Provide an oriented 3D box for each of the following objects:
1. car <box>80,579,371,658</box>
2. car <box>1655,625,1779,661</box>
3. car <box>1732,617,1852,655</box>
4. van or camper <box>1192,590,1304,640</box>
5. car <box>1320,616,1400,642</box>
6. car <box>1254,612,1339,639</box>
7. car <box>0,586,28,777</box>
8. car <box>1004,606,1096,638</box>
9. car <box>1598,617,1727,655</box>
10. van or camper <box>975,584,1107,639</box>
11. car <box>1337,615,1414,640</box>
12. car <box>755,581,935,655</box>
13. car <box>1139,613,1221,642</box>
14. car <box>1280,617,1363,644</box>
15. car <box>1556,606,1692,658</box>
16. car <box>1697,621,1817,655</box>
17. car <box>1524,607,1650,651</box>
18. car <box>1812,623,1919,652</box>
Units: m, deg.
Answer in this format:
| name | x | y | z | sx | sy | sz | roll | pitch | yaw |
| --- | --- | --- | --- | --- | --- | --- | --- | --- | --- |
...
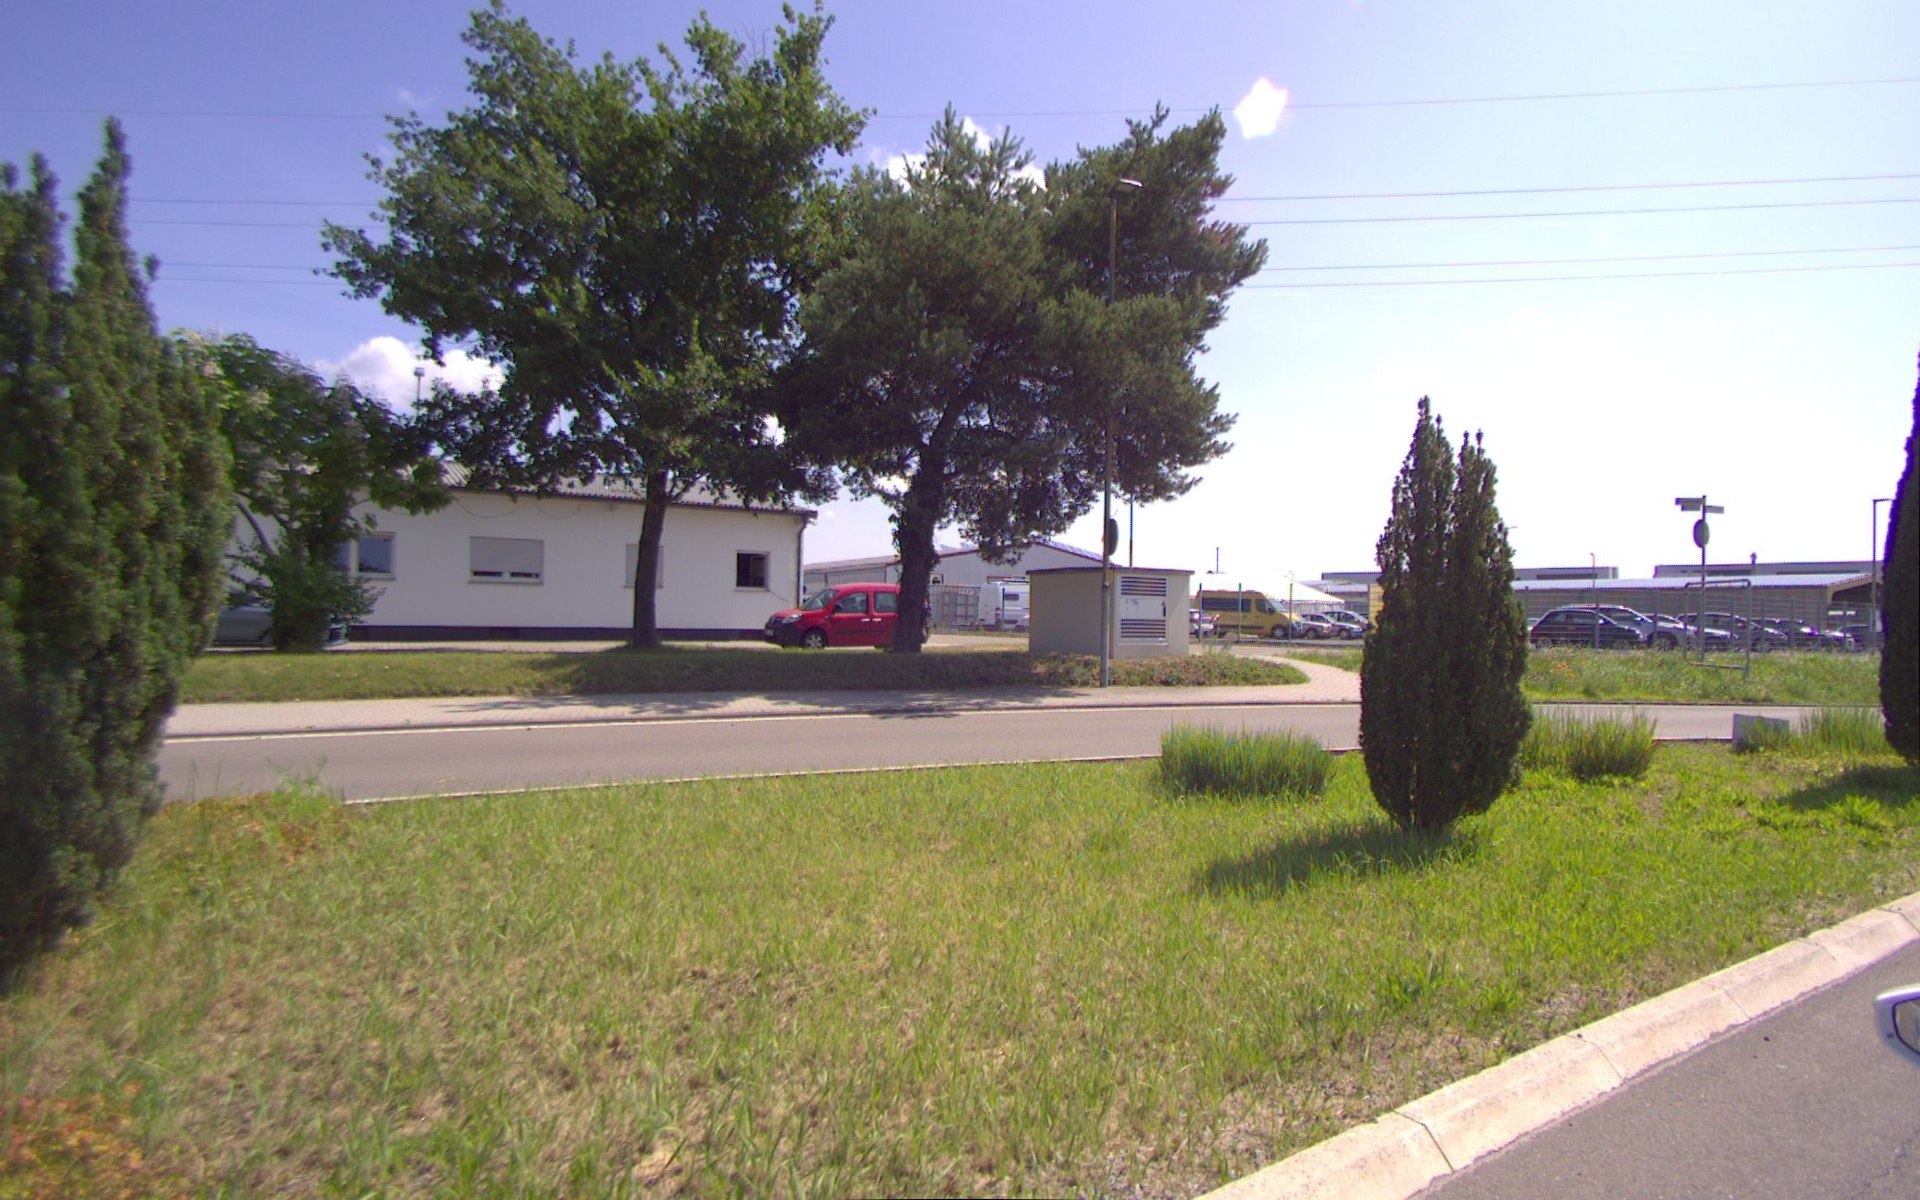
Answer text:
| name | x | y | z | sx | sy | sz | roll | pitch | yaw |
| --- | --- | --- | --- | --- | --- | --- | --- | --- | --- |
| car | -14.472 | 0.393 | 20.187 | 4.464 | 1.427 | 1.984 | 2 | -1 | -31 |
| car | 31.388 | 1.741 | 41.803 | 3.931 | 1.327 | 1.938 | 1 | 0 | 33 |
| car | 37.582 | 1.600 | 45.497 | 3.931 | 1.561 | 1.938 | 1 | 0 | 33 |
| van or camper | 14.988 | 0.758 | 52.391 | 5.249 | 2.407 | 1.889 | 1 | -1 | 33 |
| car | 22.775 | 1.638 | 57.245 | 3.931 | 1.327 | 1.938 | 1 | 0 | 33 |
| car | 18.034 | 1.349 | 53.889 | 3.931 | 1.327 | 1.938 | 1 | 0 | 33 |
| car | -8.943 | 0.537 | 5.833 | 4.807 | 1.412 | 1.890 | 2 | -1 | -30 |
| car | 4.271 | 1.036 | 47.662 | 3.951 | 1.452 | 1.911 | 1 | -1 | -29 |
| car | 26.657 | 1.340 | 38.279 | 3.932 | 1.327 | 1.938 | 1 | -1 | 33 |
| van or camper | 4.161 | 0.615 | 51.169 | 6.687 | 2.634 | 1.985 | 1 | 0 | -29 |
| car | 24.638 | 1.622 | 59.611 | 3.931 | 1.327 | 1.938 | 1 | 0 | 33 |
| car | -2.962 | 0.486 | 26.016 | 4.180 | 1.768 | 1.984 | 2 | -1 | -31 |
| car | 10.896 | 1.350 | 49.957 | 1.974 | 1.327 | 3.973 | 1 | -1 | -26 |
| car | 19.956 | 1.662 | 55.475 | 3.931 | 1.327 | 1.938 | 1 | 0 | 33 |
| car | 24.048 | 1.133 | 36.517 | 4.039 | 1.727 | 1.719 | 1 | -1 | 33 |
| car | 34.448 | 1.637 | 43.572 | 3.933 | 1.327 | 1.937 | 1 | -1 | 35 |
| car | 21.752 | 0.989 | 34.880 | 3.514 | 1.420 | 1.793 | 1 | -1 | 38 |
| car | 45.680 | 1.878 | 50.598 | 3.931 | 1.327 | 1.938 | 1 | 0 | 33 |
